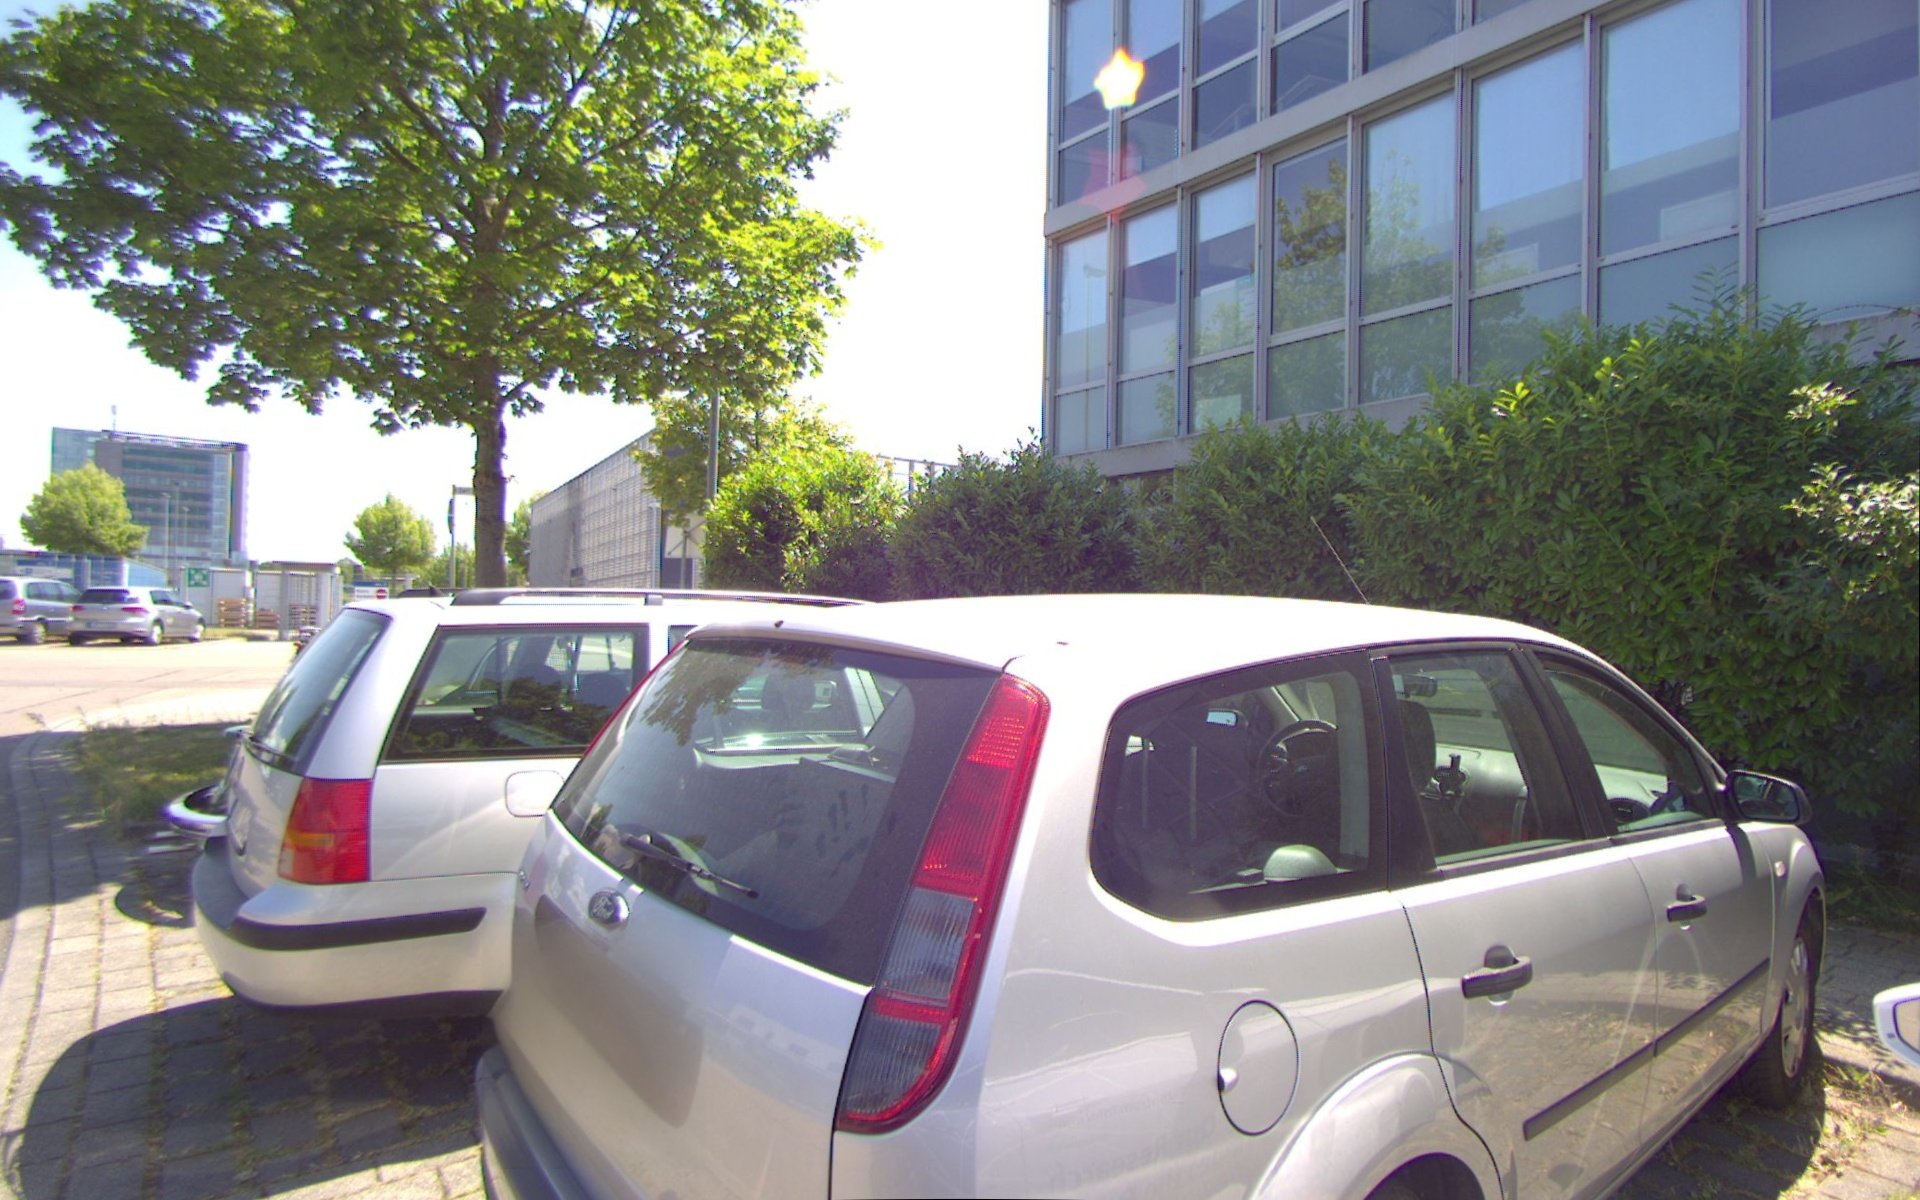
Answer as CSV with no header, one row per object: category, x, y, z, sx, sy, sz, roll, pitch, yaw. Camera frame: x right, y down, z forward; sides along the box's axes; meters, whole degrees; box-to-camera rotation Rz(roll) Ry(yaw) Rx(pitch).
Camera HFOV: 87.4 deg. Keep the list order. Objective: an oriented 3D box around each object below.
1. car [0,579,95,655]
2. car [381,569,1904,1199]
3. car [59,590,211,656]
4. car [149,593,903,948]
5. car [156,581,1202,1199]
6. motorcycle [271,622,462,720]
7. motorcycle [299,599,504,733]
car,-23.324,0.393,25.013,1.750,1.761,3.973,1,-1,-27
car,0.996,0.774,2.772,4.310,1.499,1.706,2,-1,-38
car,-20.966,0.564,25.721,1.627,1.542,3.984,1,-1,-18
car,-2.374,0.747,6.055,3.861,1.468,1.633,2,-1,-41
car,-0.834,0.747,4.175,3.861,1.499,1.633,2,-1,-41
motorcycle,-7.285,0.840,12.412,1.974,1.123,0.478,1,0,-41
motorcycle,-6.297,0.709,11.410,1.974,1.408,0.478,1,0,-41
